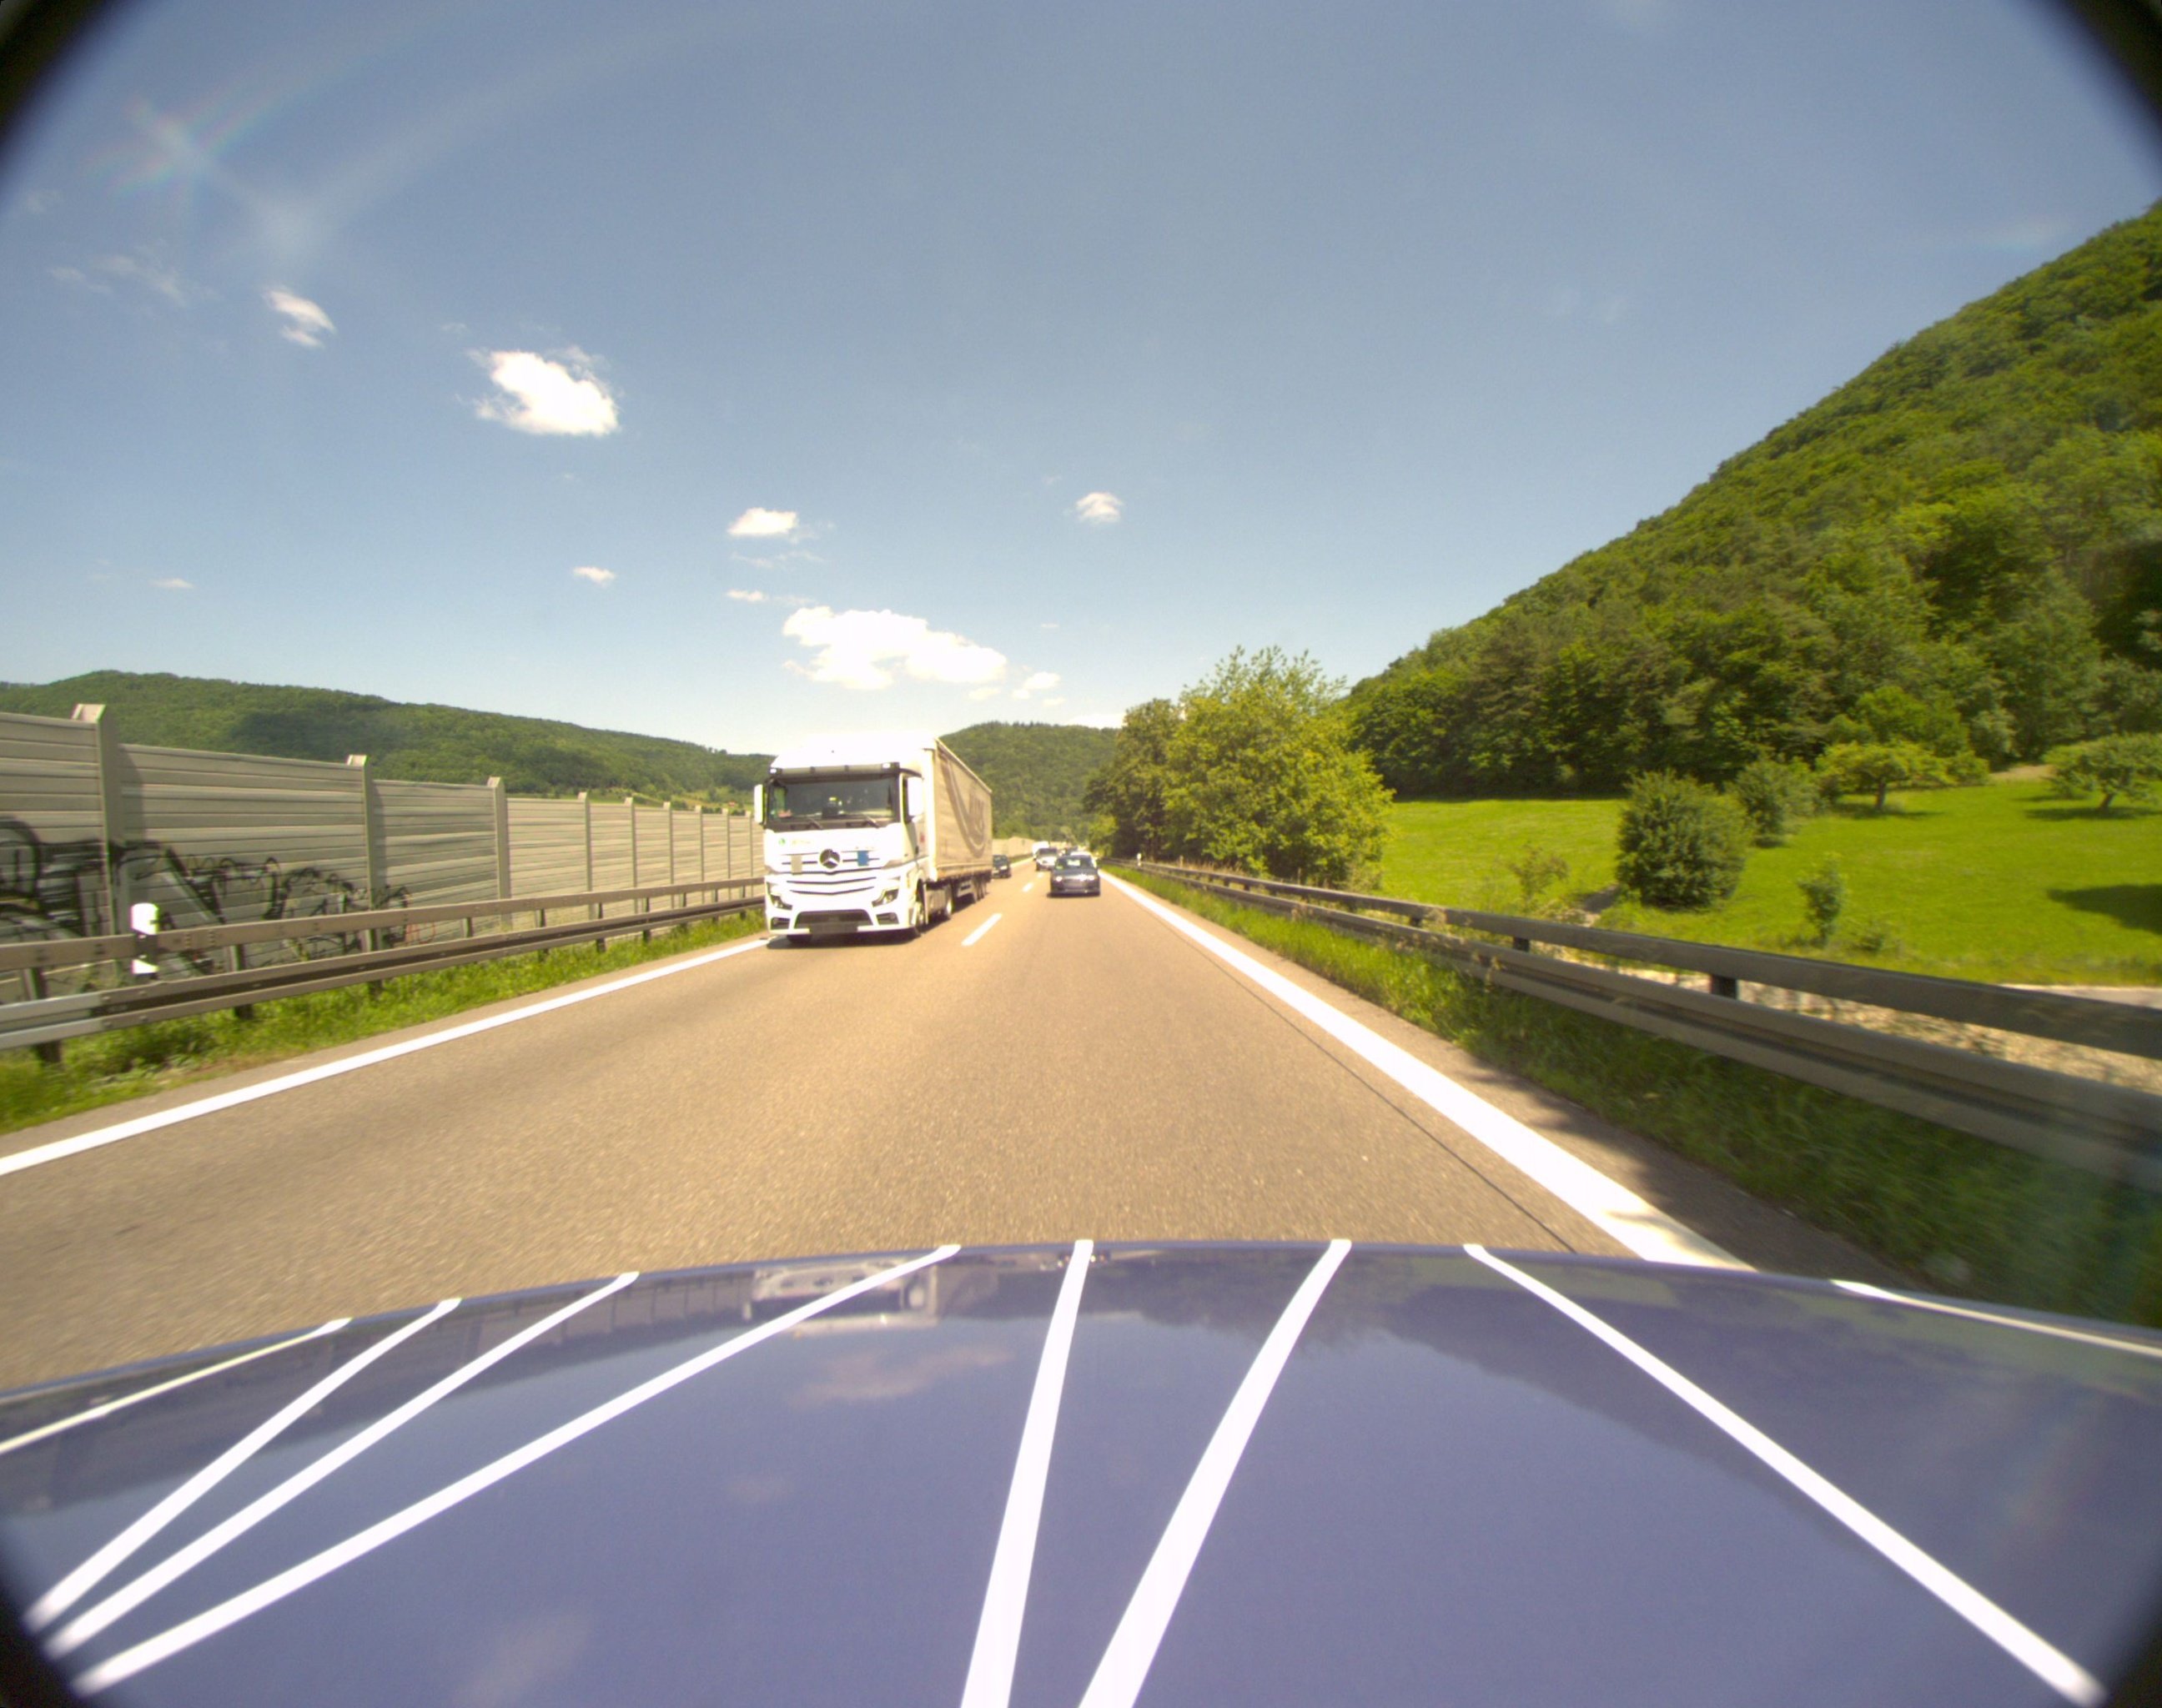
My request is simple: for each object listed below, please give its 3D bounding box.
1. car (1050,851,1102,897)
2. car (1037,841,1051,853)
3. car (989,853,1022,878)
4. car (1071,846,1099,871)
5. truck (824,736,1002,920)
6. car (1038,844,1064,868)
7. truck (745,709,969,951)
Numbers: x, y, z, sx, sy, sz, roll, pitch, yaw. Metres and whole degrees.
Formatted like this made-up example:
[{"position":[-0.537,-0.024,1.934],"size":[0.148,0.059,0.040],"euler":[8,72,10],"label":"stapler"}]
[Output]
[{"position":[-0.188,0.680,26.631],"size":[1.662,1.435,3.475],"euler":[-2,-1,-1],"label":"car"},{"position":[-5.895,-1.063,121.421],"size":[1.999,1.892,4.000],"euler":[2,0,0],"label":"car"},{"position":[-4.586,0.660,46.498],"size":[1.662,1.405,3.474],"euler":[1,1,-1],"label":"car"},{"position":[0.221,0.293,50.403],"size":[1.715,1.541,3.999],"euler":[1,1,-2],"label":"car"},{"position":[-4.467,-0.662,23.409],"size":[2.862,4.124,12.044],"euler":[-2,1,-1],"label":"truck"},{"position":[-2.470,0.179,61.606],"size":[2.044,1.855,3.999],"euler":[0,0,-3],"label":"car"},{"position":[-4.220,-0.469,16.093],"size":[2.764,4.016,6.821],"euler":[-1,1,-1],"label":"truck"}]
